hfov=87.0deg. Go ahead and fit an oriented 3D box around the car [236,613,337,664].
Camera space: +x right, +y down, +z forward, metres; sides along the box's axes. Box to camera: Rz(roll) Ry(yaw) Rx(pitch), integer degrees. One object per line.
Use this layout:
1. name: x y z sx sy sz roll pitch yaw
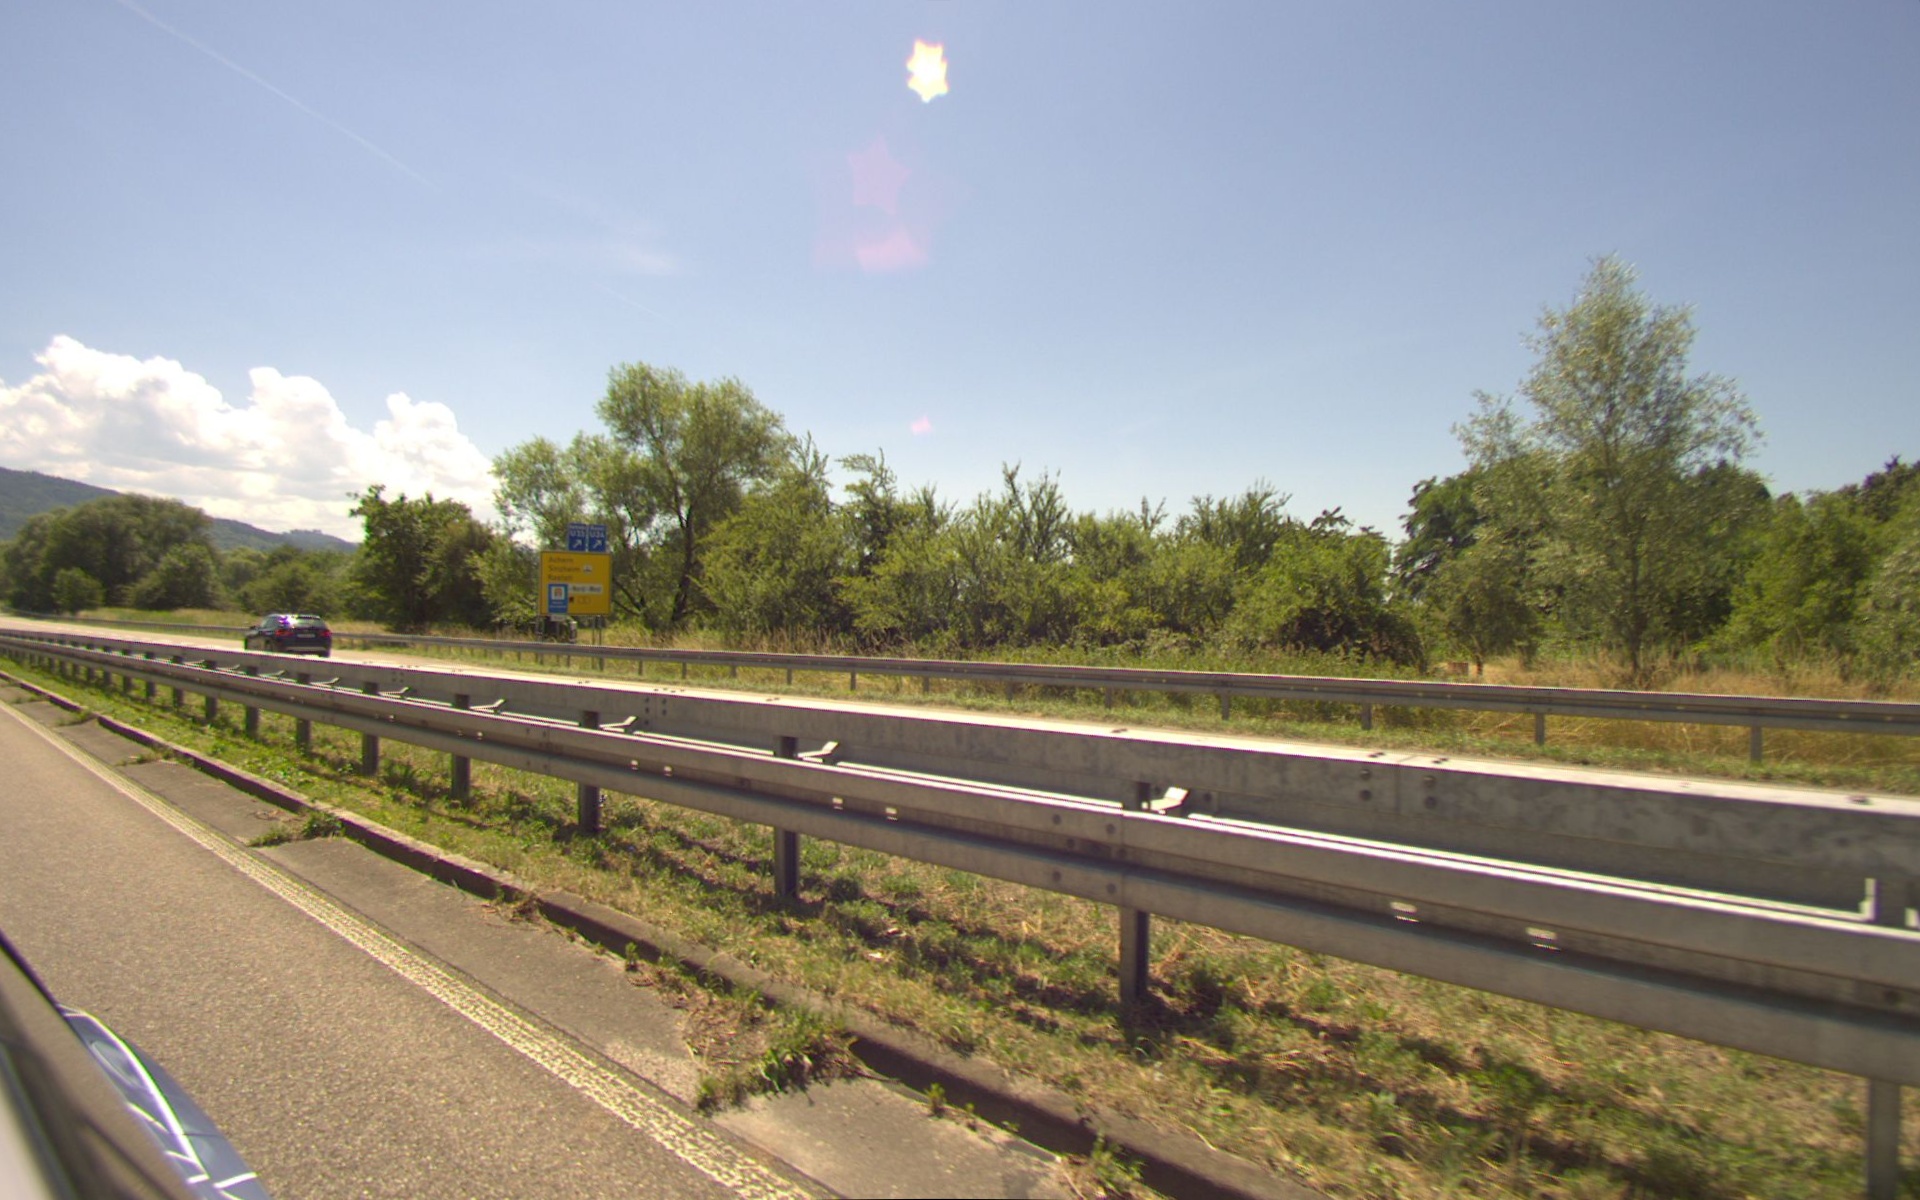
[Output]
1. car: -23.009 1.284 34.492 4.504 1.632 1.760 -1 -3 42
